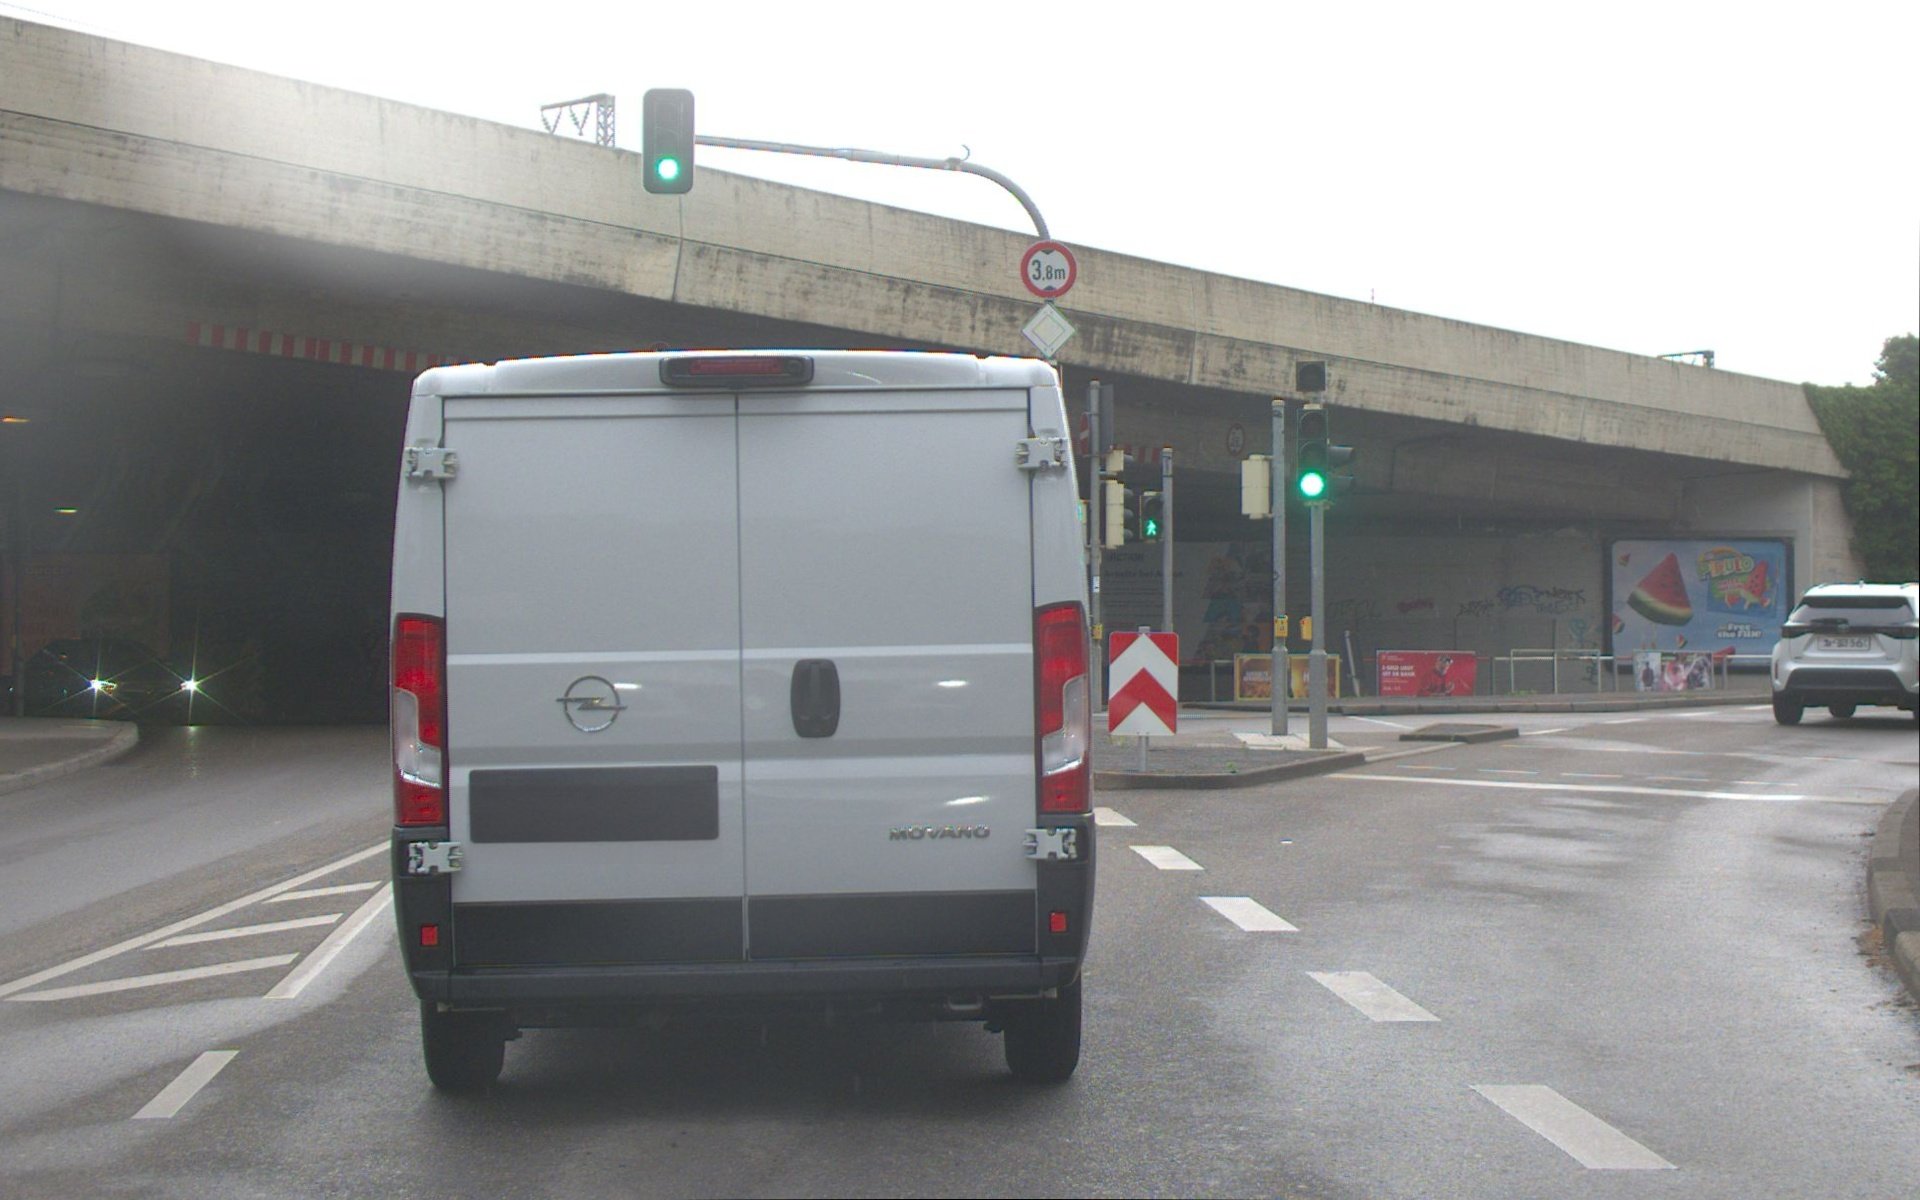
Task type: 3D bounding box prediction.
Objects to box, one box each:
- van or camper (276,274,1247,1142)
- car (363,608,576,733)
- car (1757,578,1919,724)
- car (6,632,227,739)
[{"bbox_3d":[-0.669,0.308,12.057,2.698,2.408,4.904,0,0,-3],"label":"van or camper"},{"bbox_3d":[-7.267,1.004,50.633,1.993,1.744,4.001,0,0,-26],"label":"car"},{"bbox_3d":[10.290,0.541,38.213,1.878,1.525,3.994,0,0,27],"label":"car"},{"bbox_3d":[-13.326,1.316,54.141,1.993,1.525,4.500,1,0,-33],"label":"car"}]
